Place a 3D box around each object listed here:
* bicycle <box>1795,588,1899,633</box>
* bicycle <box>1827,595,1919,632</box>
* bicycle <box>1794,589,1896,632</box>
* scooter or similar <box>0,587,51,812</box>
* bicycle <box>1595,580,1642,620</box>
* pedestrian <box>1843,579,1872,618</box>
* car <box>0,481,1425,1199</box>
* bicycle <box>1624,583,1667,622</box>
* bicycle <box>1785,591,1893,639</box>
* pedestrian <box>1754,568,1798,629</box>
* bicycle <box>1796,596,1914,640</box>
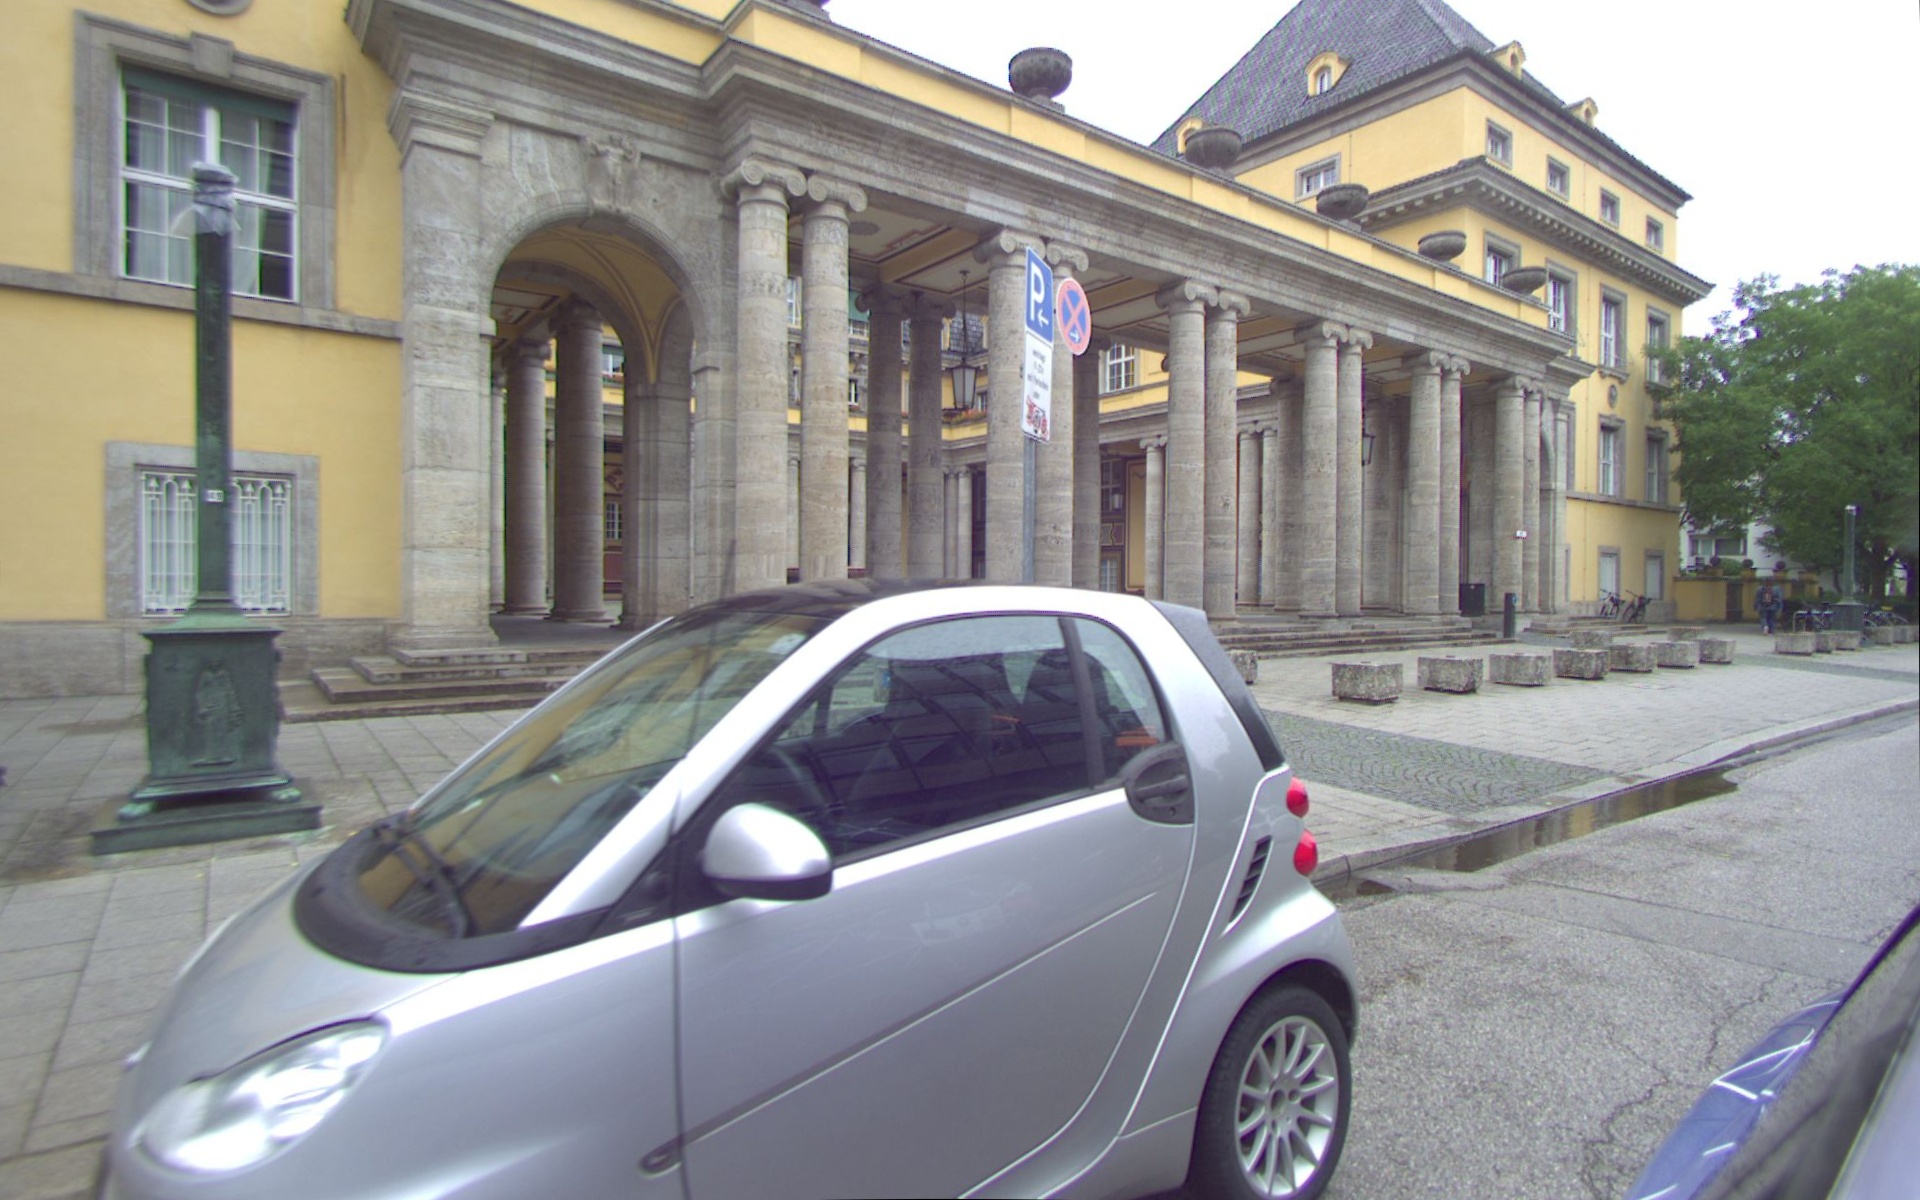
[{"bbox_3d":[26.593,0.301,30.379,2.258,1.071,0.592,8,7,43],"label":"bicycle"},{"bbox_3d":[29.059,0.409,32.104,0.590,1.023,2.266,1,3,-34],"label":"bicycle"},{"bbox_3d":[27.176,0.299,31.098,2.258,1.035,0.592,8,7,43],"label":"bicycle"},{"bbox_3d":[-5.609,0.556,5.418,0.529,1.237,1.010,1,1,8],"label":"scooter or similar"},{"bbox_3d":[22.257,-0.014,34.196,2.222,1.323,0.601,0,1,-37],"label":"bicycle"},{"bbox_3d":[41.122,-0.081,46.362,0.826,1.765,0.742,-1,4,-37],"label":"pedestrian"},{"bbox_3d":[-0.408,0.669,2.488,2.879,1.566,1.610,0,-1,-36],"label":"car"},{"bbox_3d":[24.105,0.087,35.588,2.125,1.323,0.601,0,1,-37],"label":"bicycle"},{"bbox_3d":[25.399,0.405,29.276,2.258,1.107,0.592,8,7,43],"label":"bicycle"},{"bbox_3d":[24.306,-0.062,30.144,1.036,1.767,0.790,0,1,-37],"label":"pedestrian"},{"bbox_3d":[24.726,0.478,27.993,0.667,1.018,2.365,0,4,-45],"label":"bicycle"}]
